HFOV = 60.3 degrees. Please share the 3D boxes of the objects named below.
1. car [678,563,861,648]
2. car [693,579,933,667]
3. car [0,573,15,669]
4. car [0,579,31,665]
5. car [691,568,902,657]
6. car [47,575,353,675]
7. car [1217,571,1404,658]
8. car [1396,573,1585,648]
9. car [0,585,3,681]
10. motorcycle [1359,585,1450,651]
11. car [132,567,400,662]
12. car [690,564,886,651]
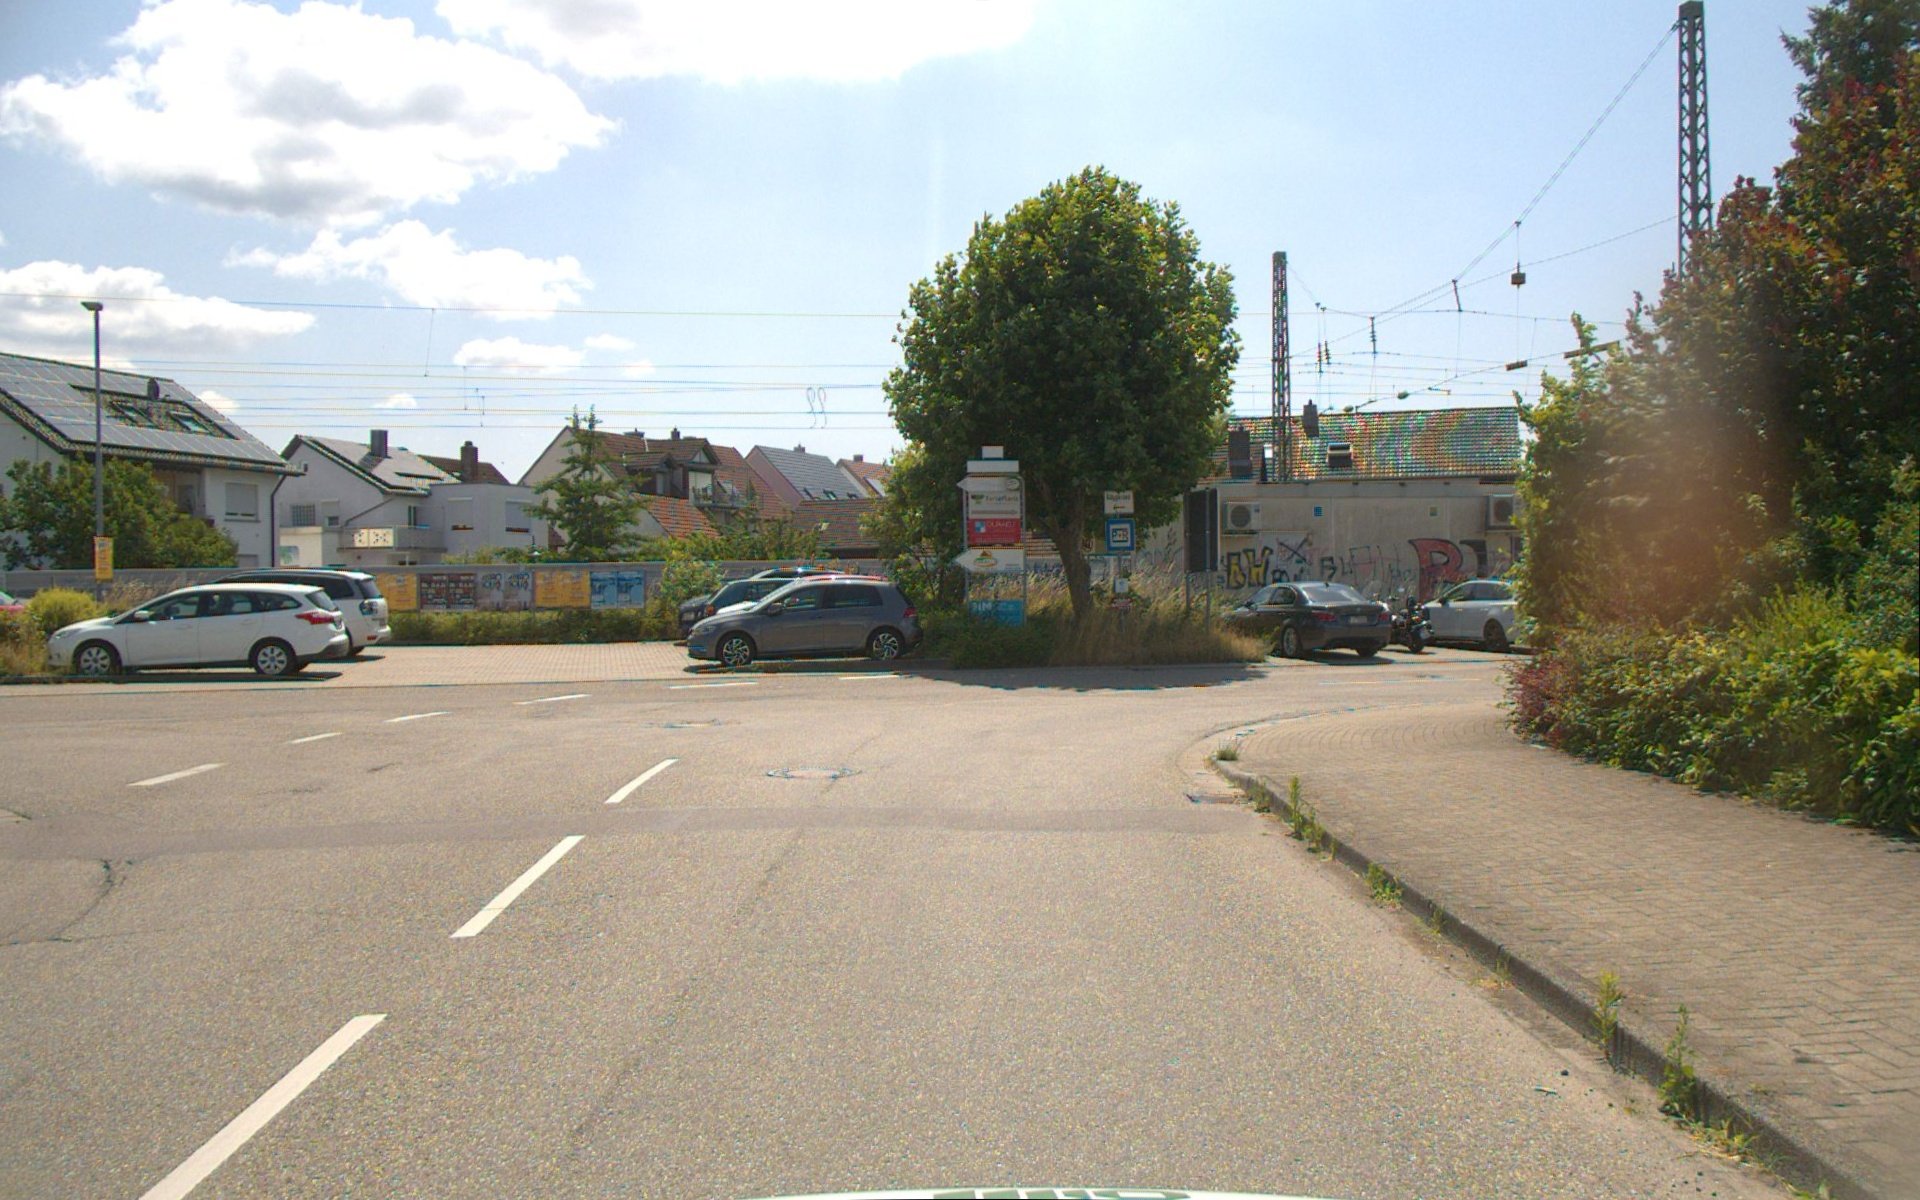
[{"bbox_3d":[-4.241,0.133,36.673,3.914,1.760,1.766,1,-1,-10],"label":"car"},{"bbox_3d":[-2.625,0.396,29.228,4.110,1.488,1.661,0,0,-9],"label":"car"},{"bbox_3d":[-18.751,0.453,28.289,4.095,1.667,1.946,-3,1,-17],"label":"car"},{"bbox_3d":[-19.511,0.424,30.570,3.718,1.585,1.688,-1,0,-14],"label":"car"},{"bbox_3d":[-3.184,0.233,31.870,3.914,1.614,1.776,-1,0,-10],"label":"car"},{"bbox_3d":[-12.361,0.413,27.181,4.208,1.502,1.822,1,0,-12],"label":"car"},{"bbox_3d":[6.797,0.245,32.533,1.726,1.410,3.978,1,4,-20],"label":"car"},{"bbox_3d":[11.050,0.183,34.751,1.677,1.401,4.092,1,2,-19],"label":"car"},{"bbox_3d":[-17.564,0.568,26.086,3.939,1.589,1.813,-1,0,-19],"label":"car"},{"bbox_3d":[8.993,0.346,33.526,0.882,1.250,1.987,-1,2,-16],"label":"motorcycle"},{"bbox_3d":[-13.238,0.244,31.806,4.369,1.720,1.996,0,1,-9],"label":"car"},{"bbox_3d":[-3.593,0.126,34.236,3.914,1.686,1.995,-1,0,-10],"label":"car"}]
